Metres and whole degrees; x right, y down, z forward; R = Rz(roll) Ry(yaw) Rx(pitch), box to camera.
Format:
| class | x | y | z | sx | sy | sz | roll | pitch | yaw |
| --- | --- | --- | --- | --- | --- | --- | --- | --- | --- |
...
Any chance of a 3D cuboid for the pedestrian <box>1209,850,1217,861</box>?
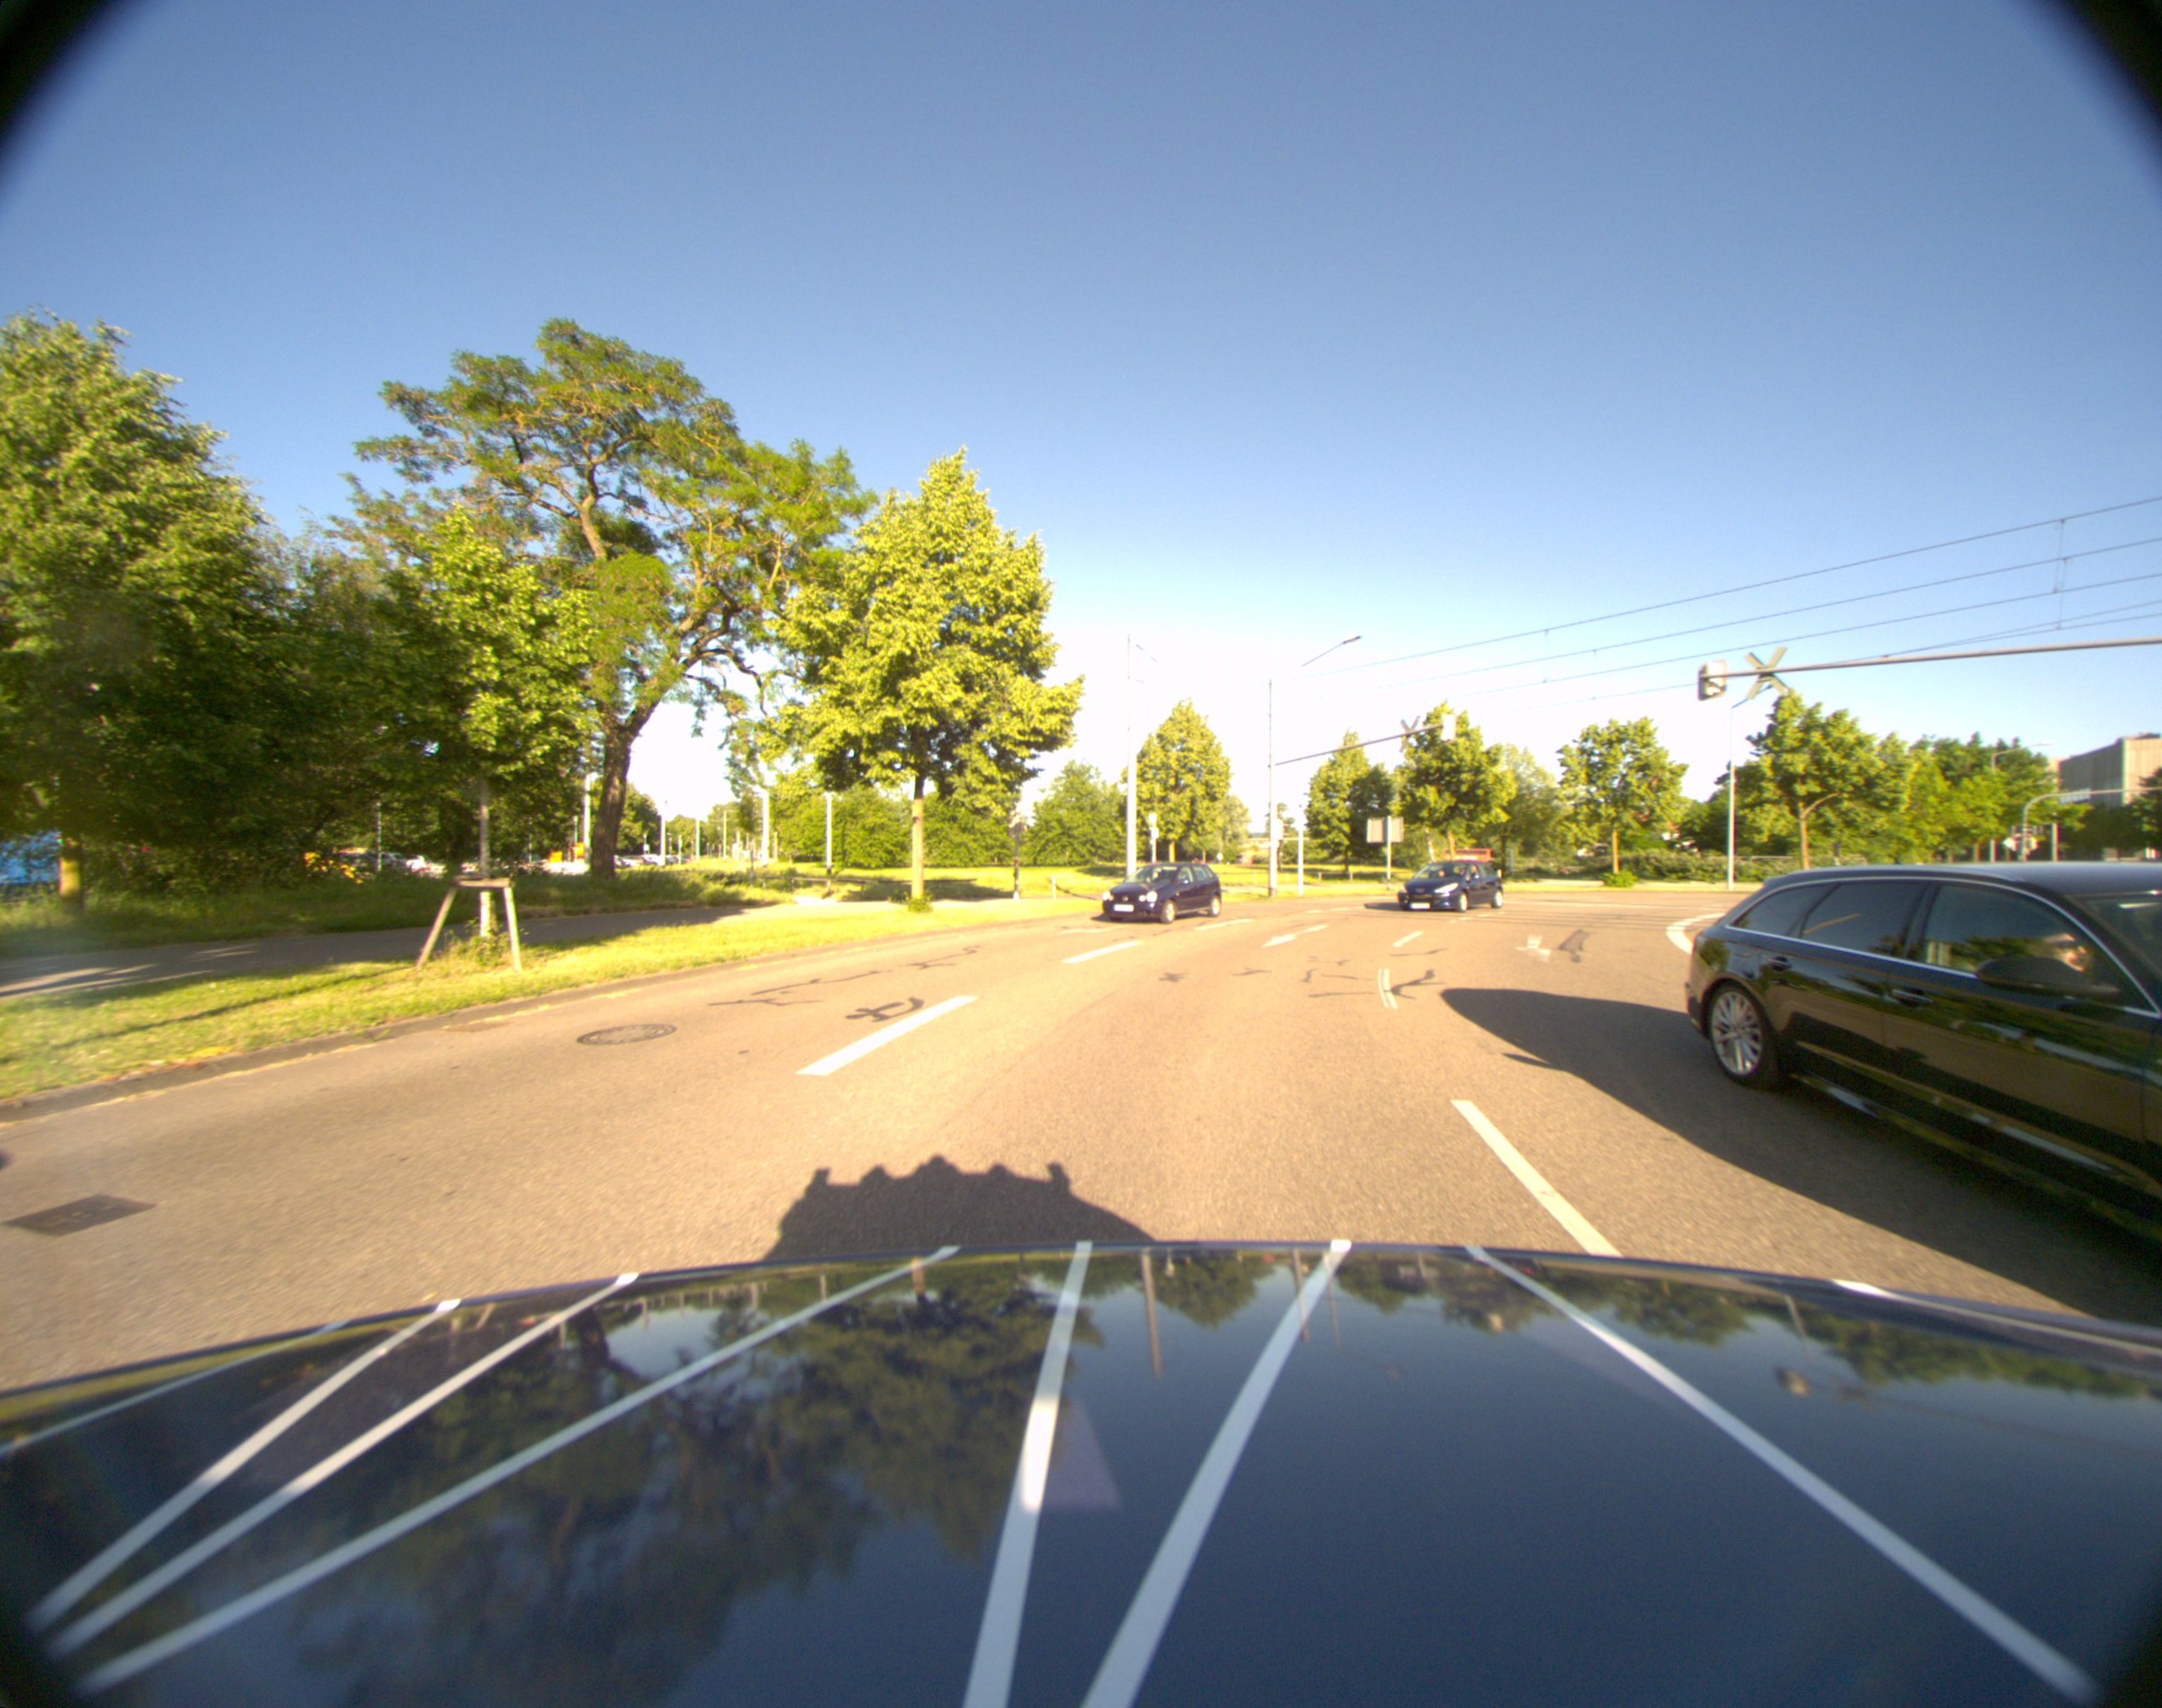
| class | x | y | z | sx | sy | sz | roll | pitch | yaw |
| --- | --- | --- | --- | --- | --- | --- | --- | --- | --- |
| pedestrian | 16.909 | 0.187 | 97.205 | 0.772 | 1.432 | 0.796 | 1 | 0 | 25 |

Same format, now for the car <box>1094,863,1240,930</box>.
| class | x | y | z | sx | sy | sz | roll | pitch | yaw |
| --- | --- | --- | --- | --- | --- | --- | --- | --- | --- |
| car | 2.321 | 0.988 | 19.439 | 1.633 | 1.459 | 4.555 | 0 | 0 | 37 |

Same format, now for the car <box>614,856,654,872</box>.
| class | x | y | z | sx | sy | sz | roll | pitch | yaw |
| --- | --- | --- | --- | --- | --- | --- | --- | --- | --- |
| car | -55.507 | 1.244 | 94.421 | 4.003 | 1.745 | 1.911 | -2 | 0 | -20 |

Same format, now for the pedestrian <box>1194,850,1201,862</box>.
| class | x | y | z | sx | sy | sz | roll | pitch | yaw |
| --- | --- | --- | --- | --- | --- | --- | --- | --- | --- |
| pedestrian | 15.036 | 0.251 | 98.241 | 0.685 | 1.432 | 0.796 | 1 | 0 | 25 |

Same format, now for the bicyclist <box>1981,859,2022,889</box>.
| class | x | y | z | sx | sy | sz | roll | pitch | yaw |
| --- | --- | --- | --- | --- | --- | --- | --- | --- | --- |
| bicyclist | 49.968 | 1.079 | 41.257 | 1.085 | 1.553 | 0.877 | 1 | 2 | 19 |

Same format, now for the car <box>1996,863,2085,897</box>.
| class | x | y | z | sx | sy | sz | roll | pitch | yaw |
| --- | --- | --- | --- | --- | --- | --- | --- | --- | --- |
| car | 43.772 | 1.151 | 34.652 | 4.074 | 1.371 | 1.721 | -2 | 0 | -27 |

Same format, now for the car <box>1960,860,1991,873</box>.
| class | x | y | z | sx | sy | sz | roll | pitch | yaw |
| --- | --- | --- | --- | --- | --- | --- | --- | --- | --- |
| car | 112.250 | 1.536 | 95.371 | 1.952 | 1.605 | 3.926 | 0 | 0 | 42 |

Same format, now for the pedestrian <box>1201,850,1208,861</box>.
| class | x | y | z | sx | sy | sz | roll | pitch | yaw |
| --- | --- | --- | --- | --- | --- | --- | --- | --- | --- |
| pedestrian | 15.852 | 0.222 | 97.494 | 0.685 | 1.432 | 0.796 | 1 | 0 | 25 |

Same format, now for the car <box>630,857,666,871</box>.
| class | x | y | z | sx | sy | sz | roll | pitch | yaw |
| --- | --- | --- | --- | --- | --- | --- | --- | --- | --- |
| car | -58.629 | 1.375 | 102.915 | 4.003 | 1.745 | 1.911 | -2 | 0 | -20 |

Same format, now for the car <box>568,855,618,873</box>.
| class | x | y | z | sx | sy | sz | roll | pitch | yaw |
| --- | --- | --- | --- | --- | --- | --- | --- | --- | --- |
| car | -51.054 | 1.048 | 79.549 | 4.003 | 1.745 | 1.997 | -2 | 0 | -20 |

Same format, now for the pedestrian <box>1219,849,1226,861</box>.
| class | x | y | z | sx | sy | sz | roll | pitch | yaw |
| --- | --- | --- | --- | --- | --- | --- | --- | --- | --- |
| pedestrian | 18.076 | 0.147 | 96.794 | 0.660 | 1.432 | 0.796 | 1 | 0 | 25 |

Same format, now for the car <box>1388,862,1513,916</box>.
| class | x | y | z | sx | sy | sz | roll | pitch | yaw |
| --- | --- | --- | --- | --- | --- | --- | --- | --- | --- |
| car | 10.982 | 0.970 | 22.484 | 4.008 | 1.445 | 1.753 | 0 | -1 | -38 |

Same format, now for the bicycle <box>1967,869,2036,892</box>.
| class | x | y | z | sx | sy | sz | roll | pitch | yaw |
| --- | --- | --- | --- | --- | --- | --- | --- | --- | --- |
| bicycle | 49.943 | 1.407 | 41.270 | 2.211 | 1.148 | 0.877 | 1 | 2 | 19 |

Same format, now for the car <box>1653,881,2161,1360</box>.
| class | x | y | z | sx | sy | sz | roll | pitch | yaw |
| --- | --- | --- | --- | --- | --- | --- | --- | --- | --- |
| car | 4.629 | 0.923 | 3.173 | 1.795 | 1.435 | 5.022 | -1 | 0 | 14 |
